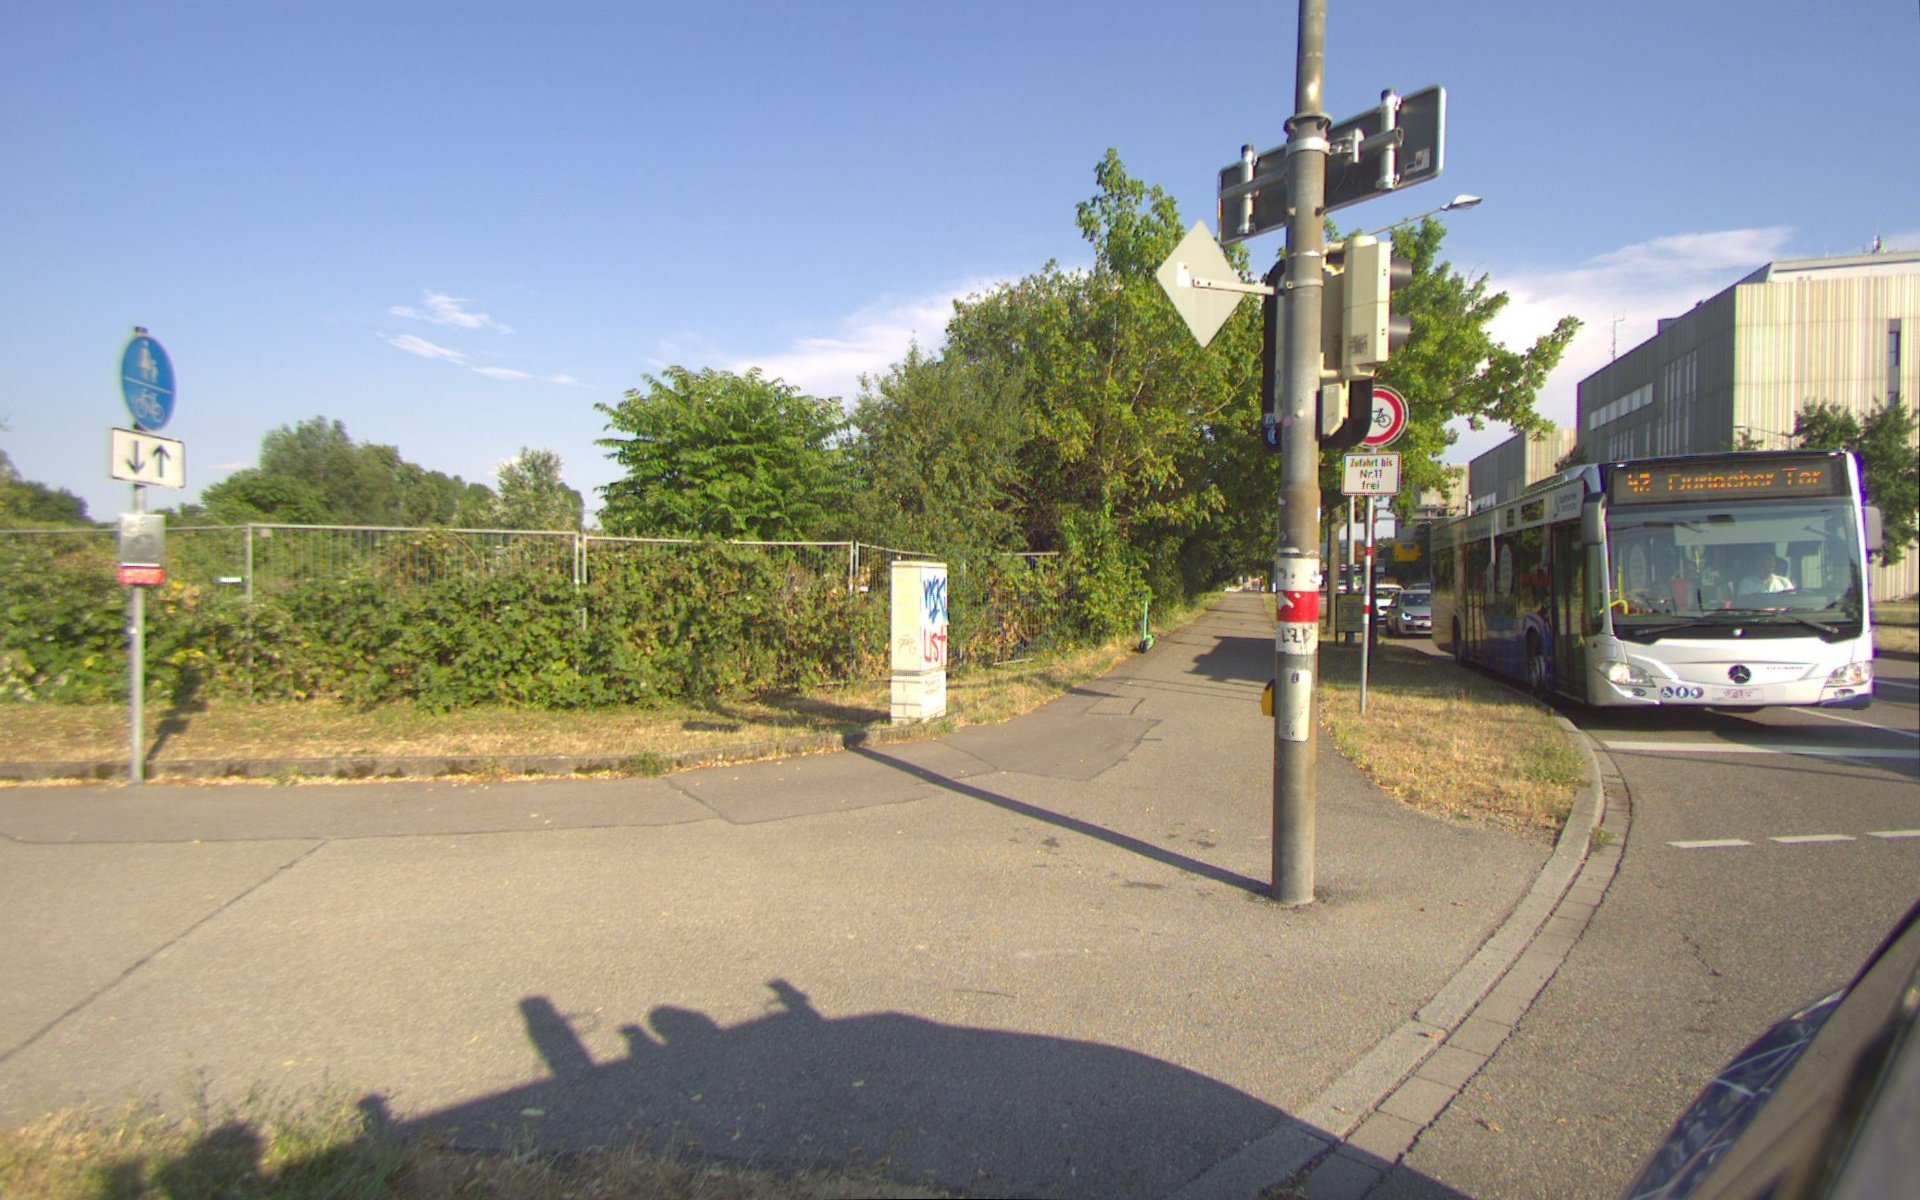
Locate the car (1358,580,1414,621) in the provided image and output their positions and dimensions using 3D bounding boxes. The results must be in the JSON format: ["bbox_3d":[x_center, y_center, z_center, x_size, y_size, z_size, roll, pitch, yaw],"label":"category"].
[{"bbox_3d":[17.282,-0.022,41.196,1.563,1.581,3.611,0,1,15],"label":"car"}]

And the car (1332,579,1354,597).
[{"bbox_3d":[35.886,-1.125,94.902,1.563,1.581,3.611,0,1,15],"label":"car"}]

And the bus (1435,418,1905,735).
[{"bbox_3d":[9.700,-0.292,15.804,2.562,3.081,11.653,-1,1,18],"label":"bus"}]

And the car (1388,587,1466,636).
[{"bbox_3d":[14.499,0.310,31.574,1.563,1.441,3.611,1,1,15],"label":"car"}]

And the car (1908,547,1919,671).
[{"bbox_3d":[15.504,0.174,13.635,1.836,1.956,4.989,-1,1,16],"label":"car"}]

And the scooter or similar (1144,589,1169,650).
[{"bbox_3d":[3.846,0.367,19.746,0.246,1.140,1.087,3,2,21],"label":"scooter or similar"}]
